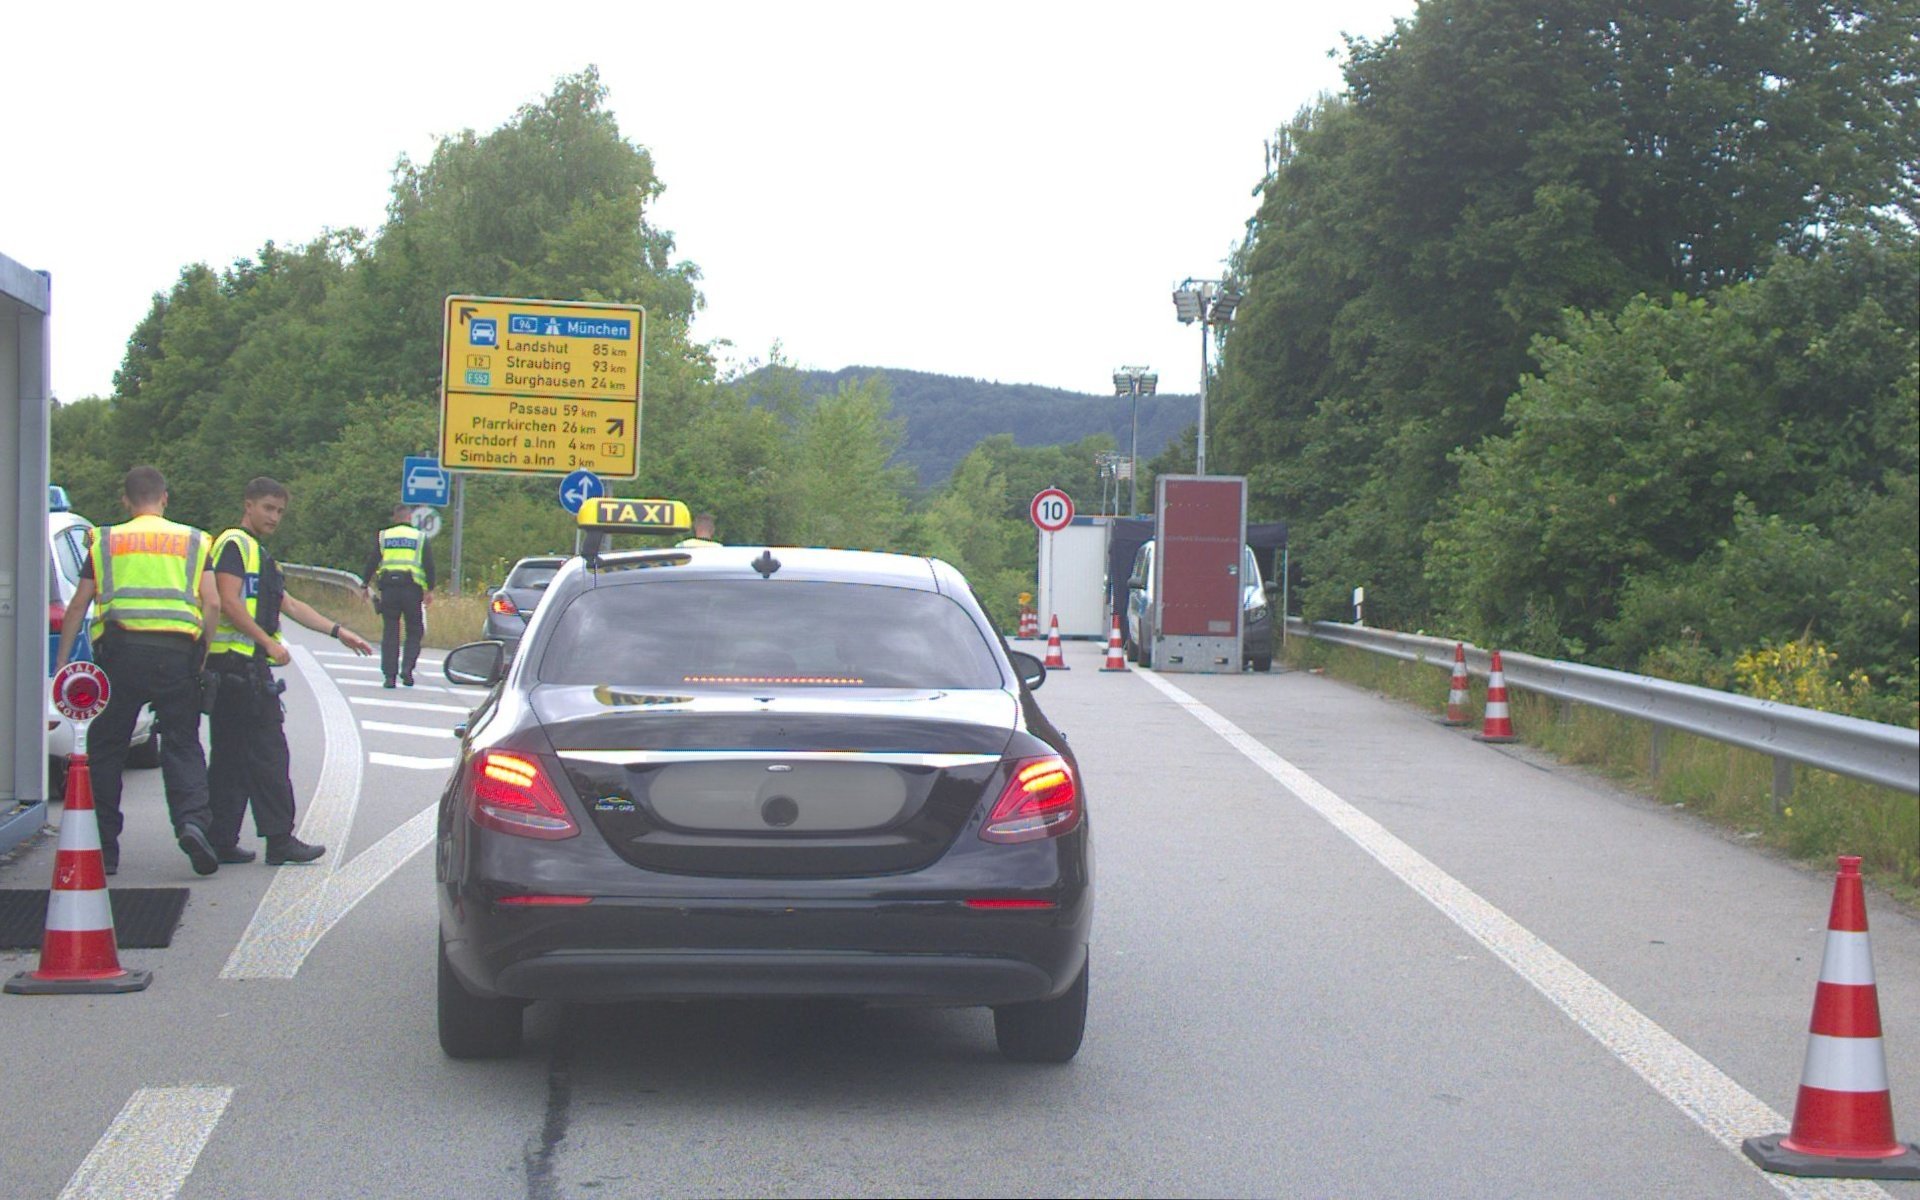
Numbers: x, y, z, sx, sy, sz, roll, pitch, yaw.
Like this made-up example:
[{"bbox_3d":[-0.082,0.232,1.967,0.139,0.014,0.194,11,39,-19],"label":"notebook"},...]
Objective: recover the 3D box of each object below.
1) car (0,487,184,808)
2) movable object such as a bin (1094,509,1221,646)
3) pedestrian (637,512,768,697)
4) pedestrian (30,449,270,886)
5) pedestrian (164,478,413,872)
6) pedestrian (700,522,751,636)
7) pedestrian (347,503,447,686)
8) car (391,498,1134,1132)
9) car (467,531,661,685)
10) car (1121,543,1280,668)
[{"bbox_3d":[-5.866,0.214,20.590,1.868,1.737,4.009,1,1,-6],"label":"car"},{"bbox_3d":[3.418,-0.412,60.186,1.993,2.272,4.168,1,1,1],"label":"movable object such as a bin"},{"bbox_3d":[-2.408,0.035,32.078,0.908,1.692,0.914,1,1,-26],"label":"pedestrian"},{"bbox_3d":[-3.513,0.274,14.886,0.812,1.824,0.809,0,1,-29],"label":"pedestrian"},{"bbox_3d":[-3.010,0.319,15.450,0.816,1.712,0.762,1,1,18],"label":"pedestrian"},{"bbox_3d":[-4.056,-0.366,59.541,0.664,1.954,0.759,1,1,14],"label":"pedestrian"},{"bbox_3d":[-5.549,-0.060,33.862,0.908,1.763,0.914,1,1,-11],"label":"pedestrian"},{"bbox_3d":[-0.671,0.510,10.883,1.855,1.589,4.376,1,1,-5],"label":"car"},{"bbox_3d":[-4.108,0.042,36.179,1.855,1.493,4.257,1,1,-4],"label":"car"},{"bbox_3d":[3.529,0.034,51.348,1.916,1.672,5.083,3,1,0],"label":"car"}]
